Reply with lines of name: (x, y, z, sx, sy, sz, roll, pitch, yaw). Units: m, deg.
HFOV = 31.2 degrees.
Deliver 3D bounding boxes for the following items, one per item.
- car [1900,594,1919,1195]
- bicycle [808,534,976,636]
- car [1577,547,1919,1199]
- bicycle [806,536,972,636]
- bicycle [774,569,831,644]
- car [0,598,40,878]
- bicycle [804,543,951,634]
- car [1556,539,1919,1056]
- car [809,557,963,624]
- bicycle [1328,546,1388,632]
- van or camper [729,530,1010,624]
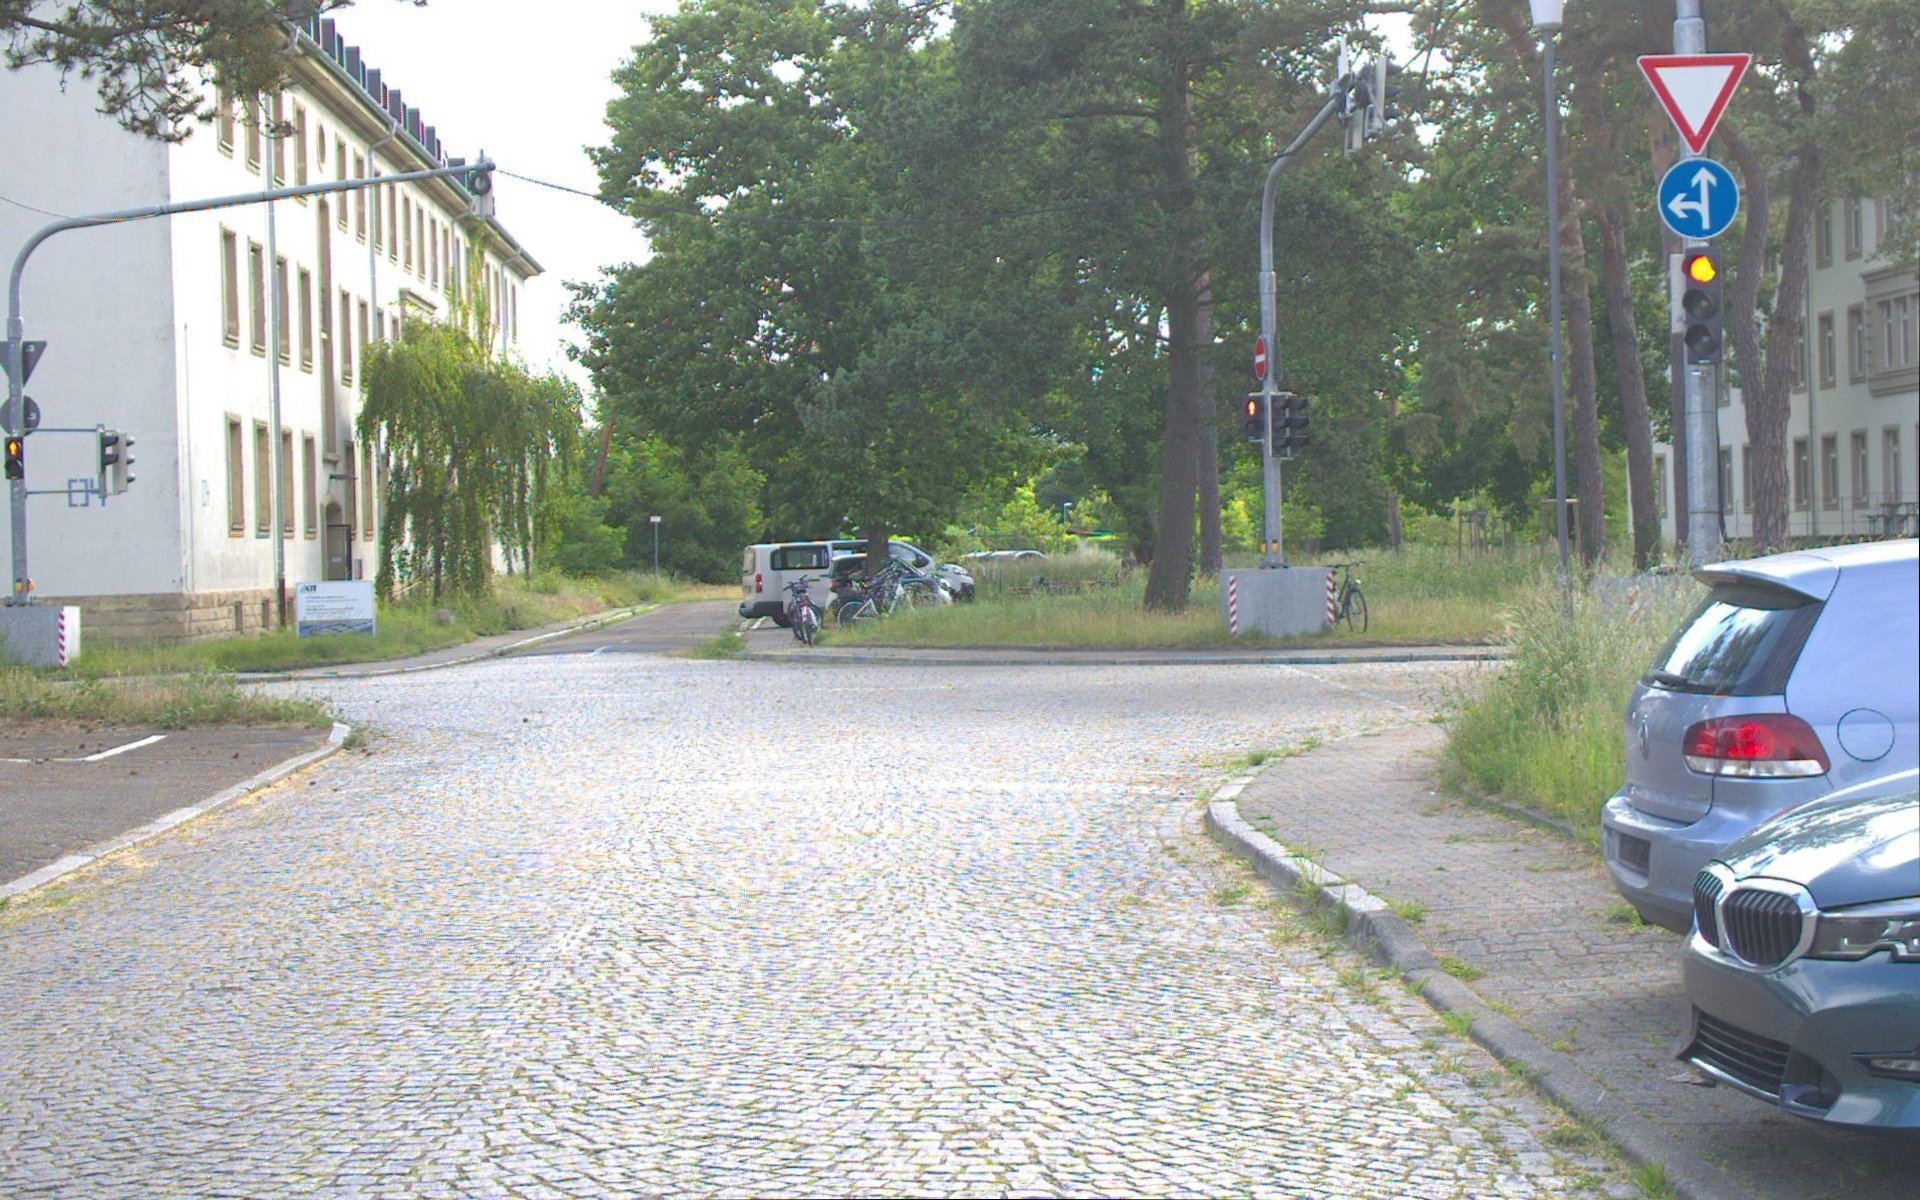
car: (3.973, 0.632, 5.611, 4.325, 1.424, 1.767, -2, 1, -3)
bicycle: (-1.195, -0.263, 59.831, 2.775, 1.688, 1.120, -2, 1, -7)
car: (3.964, 0.574, 8.348, 4.512, 1.478, 1.808, -2, 1, -4)
bicycle: (-1.263, -0.251, 61.025, 2.775, 1.688, 1.120, -2, 1, -9)
bicycle: (-2.534, 0.095, 55.517, 0.725, 1.104, 2.462, -6, 1, -1)
car: (-7.194, 0.649, 17.673, 4.477, 1.437, 1.830, 2, 1, -5)
bicycle: (-1.573, -0.229, 65.923, 2.775, 1.688, 1.120, 1, 0, 0)
car: (3.995, 0.511, 10.896, 3.842, 1.466, 1.642, -2, 1, -2)
car: (-1.608, -0.212, 74.222, 3.137, 1.349, 1.620, -1, 1, -7)
bicycle: (5.571, -0.160, 48.209, 0.724, 1.165, 2.736, 0, 1, 4)
van or camper: (-2.058, -0.536, 77.726, 6.030, 1.942, 2.001, -2, 1, -12)
